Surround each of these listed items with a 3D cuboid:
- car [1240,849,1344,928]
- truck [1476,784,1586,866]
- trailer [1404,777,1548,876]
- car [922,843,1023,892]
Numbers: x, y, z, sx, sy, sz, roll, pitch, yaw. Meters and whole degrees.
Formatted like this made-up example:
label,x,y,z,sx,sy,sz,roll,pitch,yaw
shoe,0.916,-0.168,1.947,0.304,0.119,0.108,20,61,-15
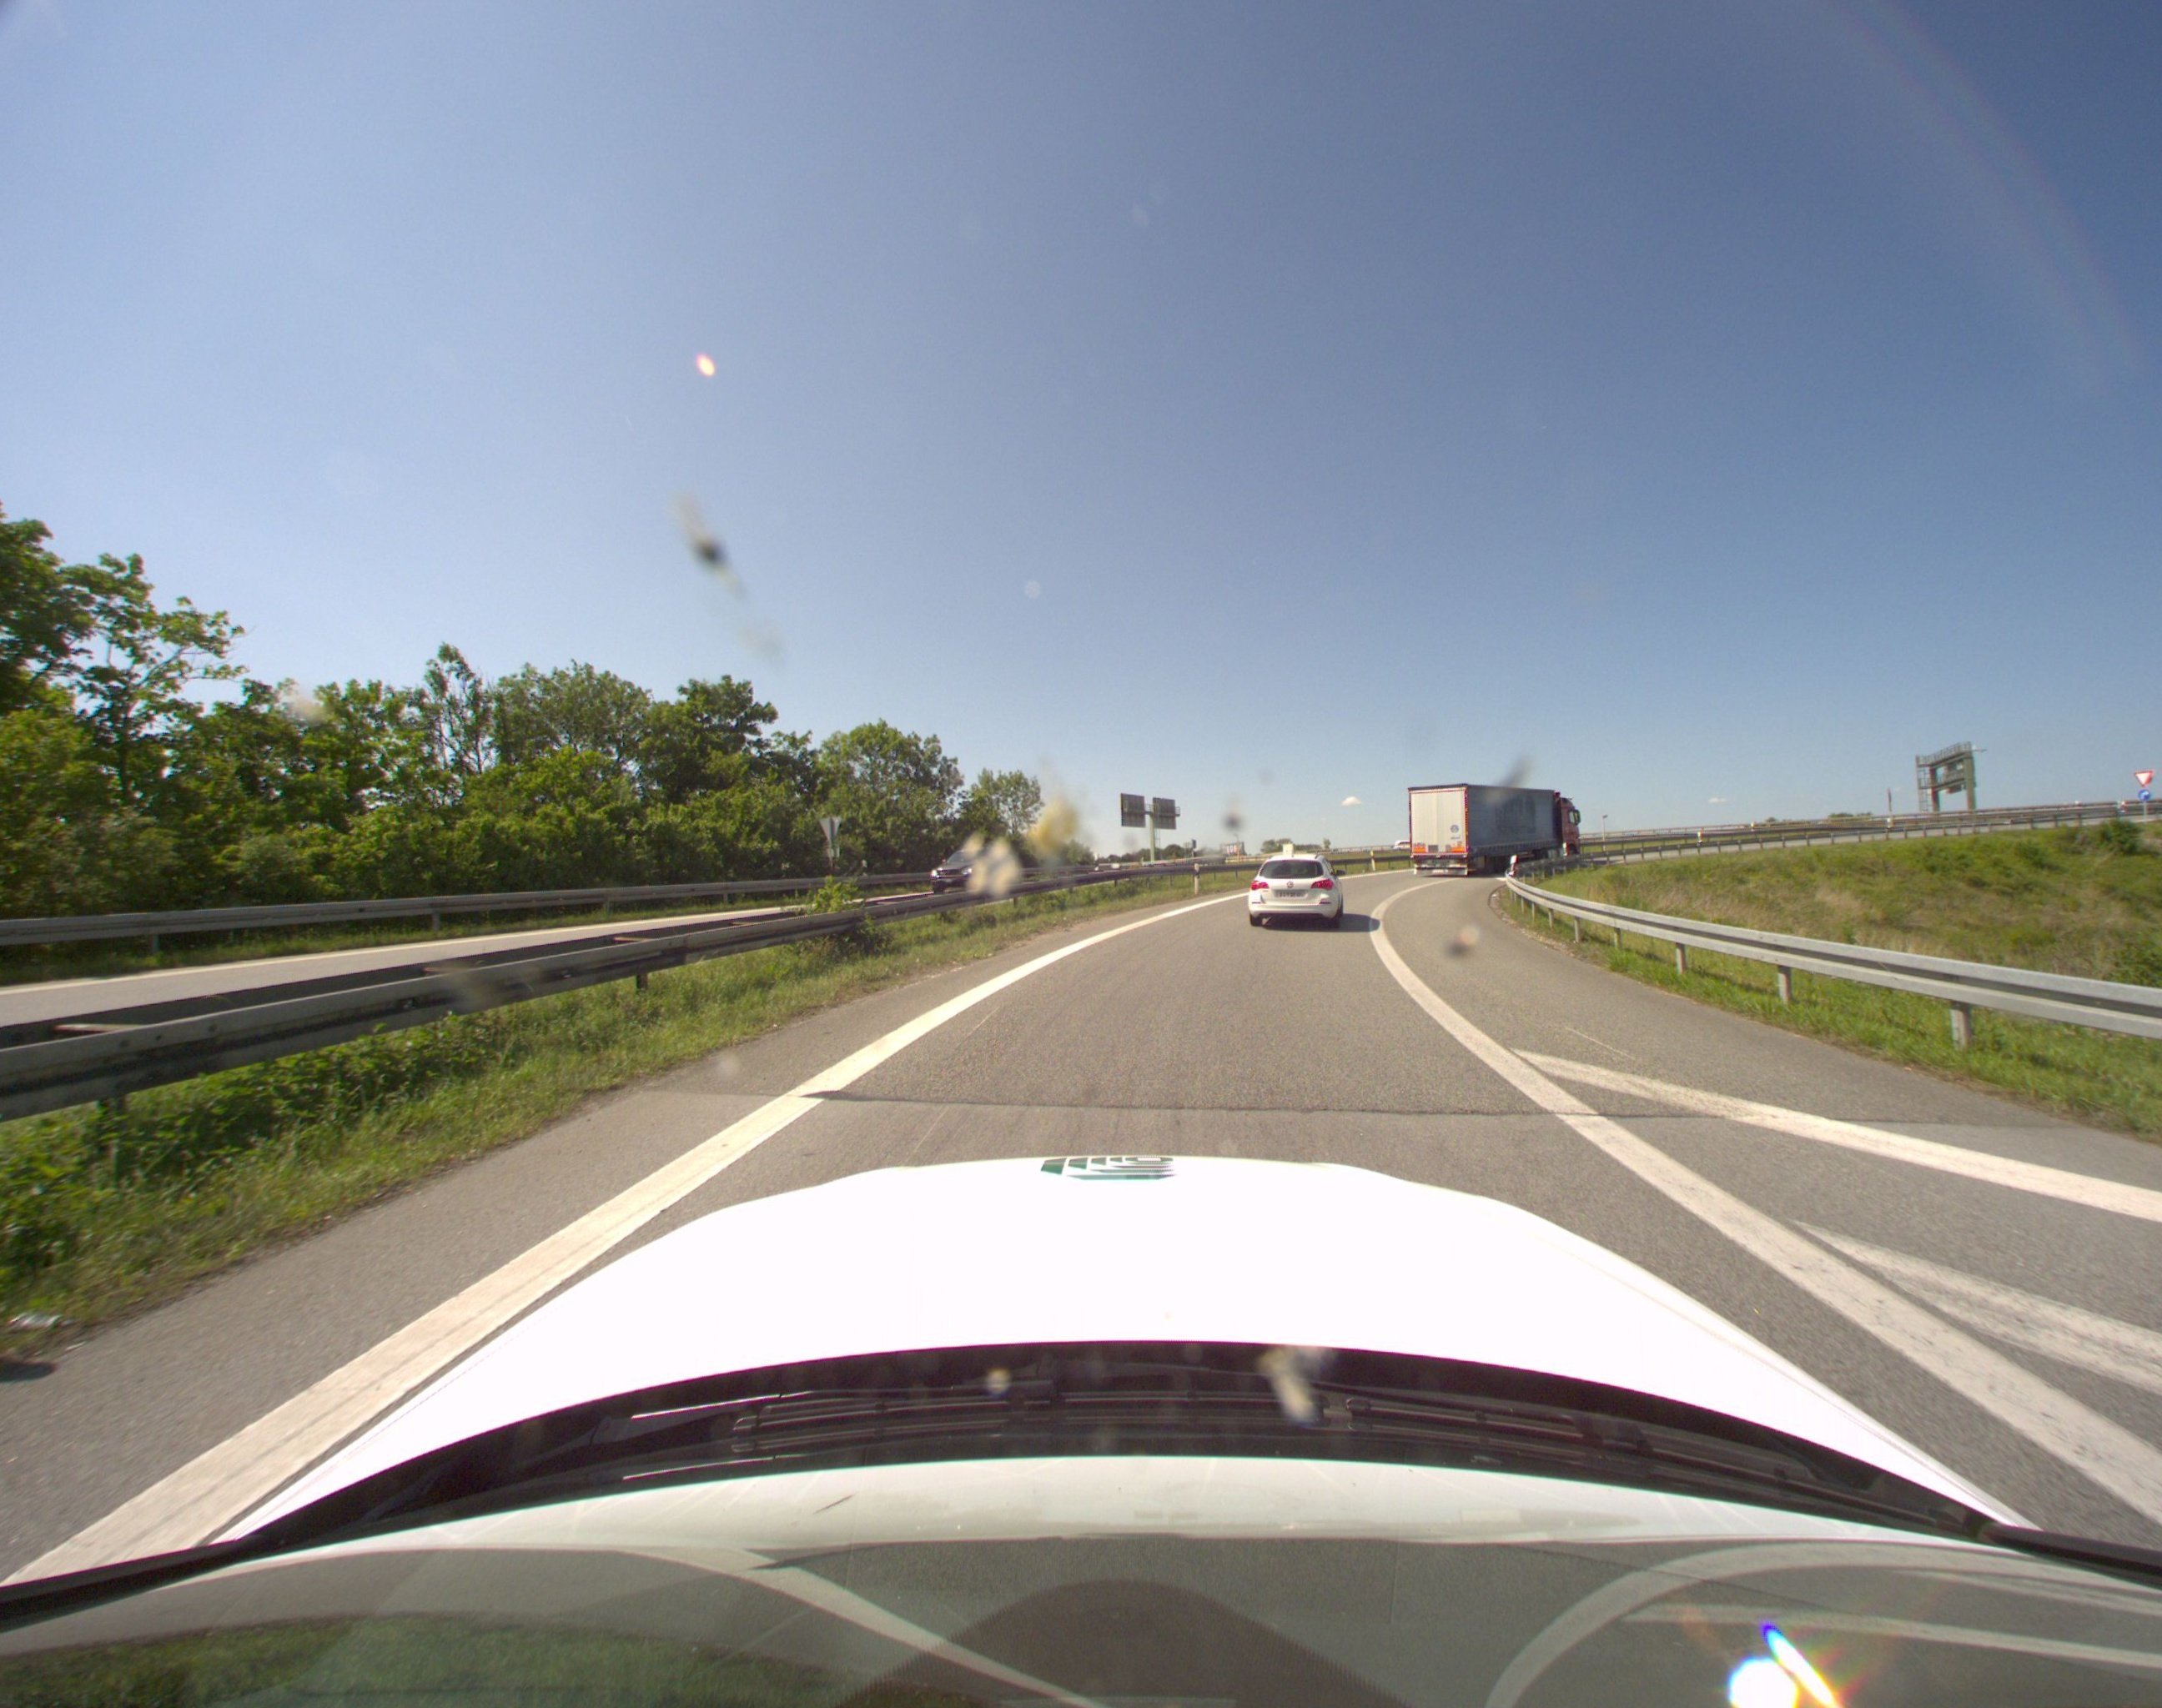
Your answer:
label,x,y,z,sx,sy,sz,roll,pitch,yaw
car,4.693,0.661,17.686,1.839,1.443,4.393,-1,0,19
truck,24.812,-1.586,44.753,6.963,4.145,2.887,-2,0,-41
trailer,19.437,-1.291,39.540,2.885,4.145,11.326,-2,0,43
car,-4.093,0.490,31.788,1.978,1.731,5.219,-1,0,16
